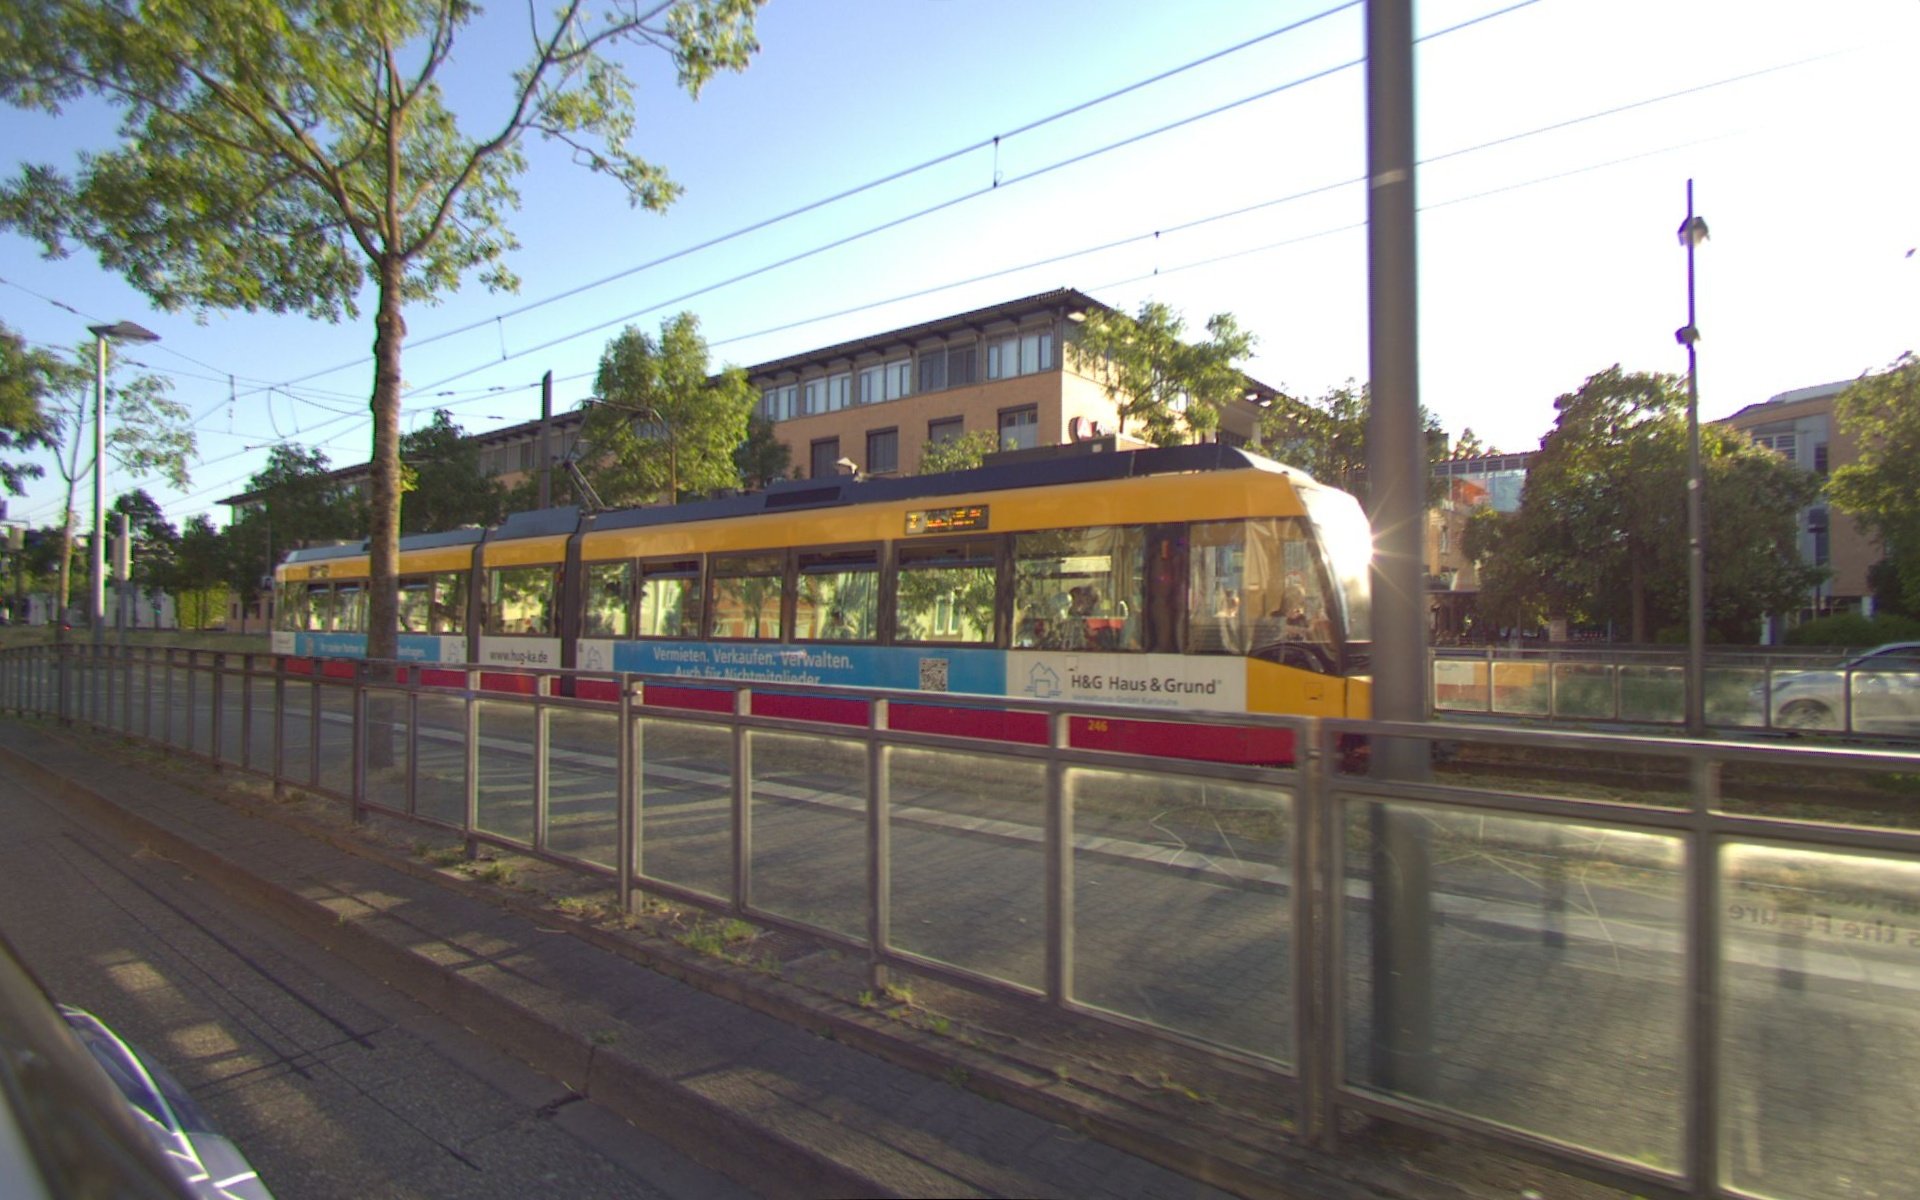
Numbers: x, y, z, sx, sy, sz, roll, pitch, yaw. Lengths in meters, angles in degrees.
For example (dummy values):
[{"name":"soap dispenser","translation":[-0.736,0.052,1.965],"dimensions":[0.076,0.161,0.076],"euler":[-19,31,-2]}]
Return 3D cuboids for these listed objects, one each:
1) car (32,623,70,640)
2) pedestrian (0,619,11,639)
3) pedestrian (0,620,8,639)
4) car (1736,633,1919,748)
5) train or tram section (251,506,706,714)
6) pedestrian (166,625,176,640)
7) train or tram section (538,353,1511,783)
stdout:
[{"name":"car","translation":[-78.137,2.673,86.987],"dimensions":[3.996,1.386,1.772],"euler":[-1,-2,39]},{"name":"pedestrian","translation":[-83.558,2.550,88.514],"dimensions":[0.544,1.697,0.512],"euler":[0,-2,11]},{"name":"pedestrian","translation":[-84.460,2.599,89.284],"dimensions":[0.544,1.697,0.512],"euler":[-2,-1,12]},{"name":"car","translation":[13.510,1.245,14.263],"dimensions":[3.997,1.519,1.843],"euler":[-1,-2,40]},{"name":"train or tram section","translation":[-11.722,0.288,22.994],"dimensions":[15.015,3.456,3.396],"euler":[-1,-2,40]},{"name":"pedestrian","translation":[-75.473,3.088,96.761],"dimensions":[0.574,1.378,0.581],"euler":[-1,-2,33]},{"name":"train or tram section","translation":[-0.639,-0.141,13.699],"dimensions":[13.846,3.365,3.396],"euler":[-1,-2,40]}]
